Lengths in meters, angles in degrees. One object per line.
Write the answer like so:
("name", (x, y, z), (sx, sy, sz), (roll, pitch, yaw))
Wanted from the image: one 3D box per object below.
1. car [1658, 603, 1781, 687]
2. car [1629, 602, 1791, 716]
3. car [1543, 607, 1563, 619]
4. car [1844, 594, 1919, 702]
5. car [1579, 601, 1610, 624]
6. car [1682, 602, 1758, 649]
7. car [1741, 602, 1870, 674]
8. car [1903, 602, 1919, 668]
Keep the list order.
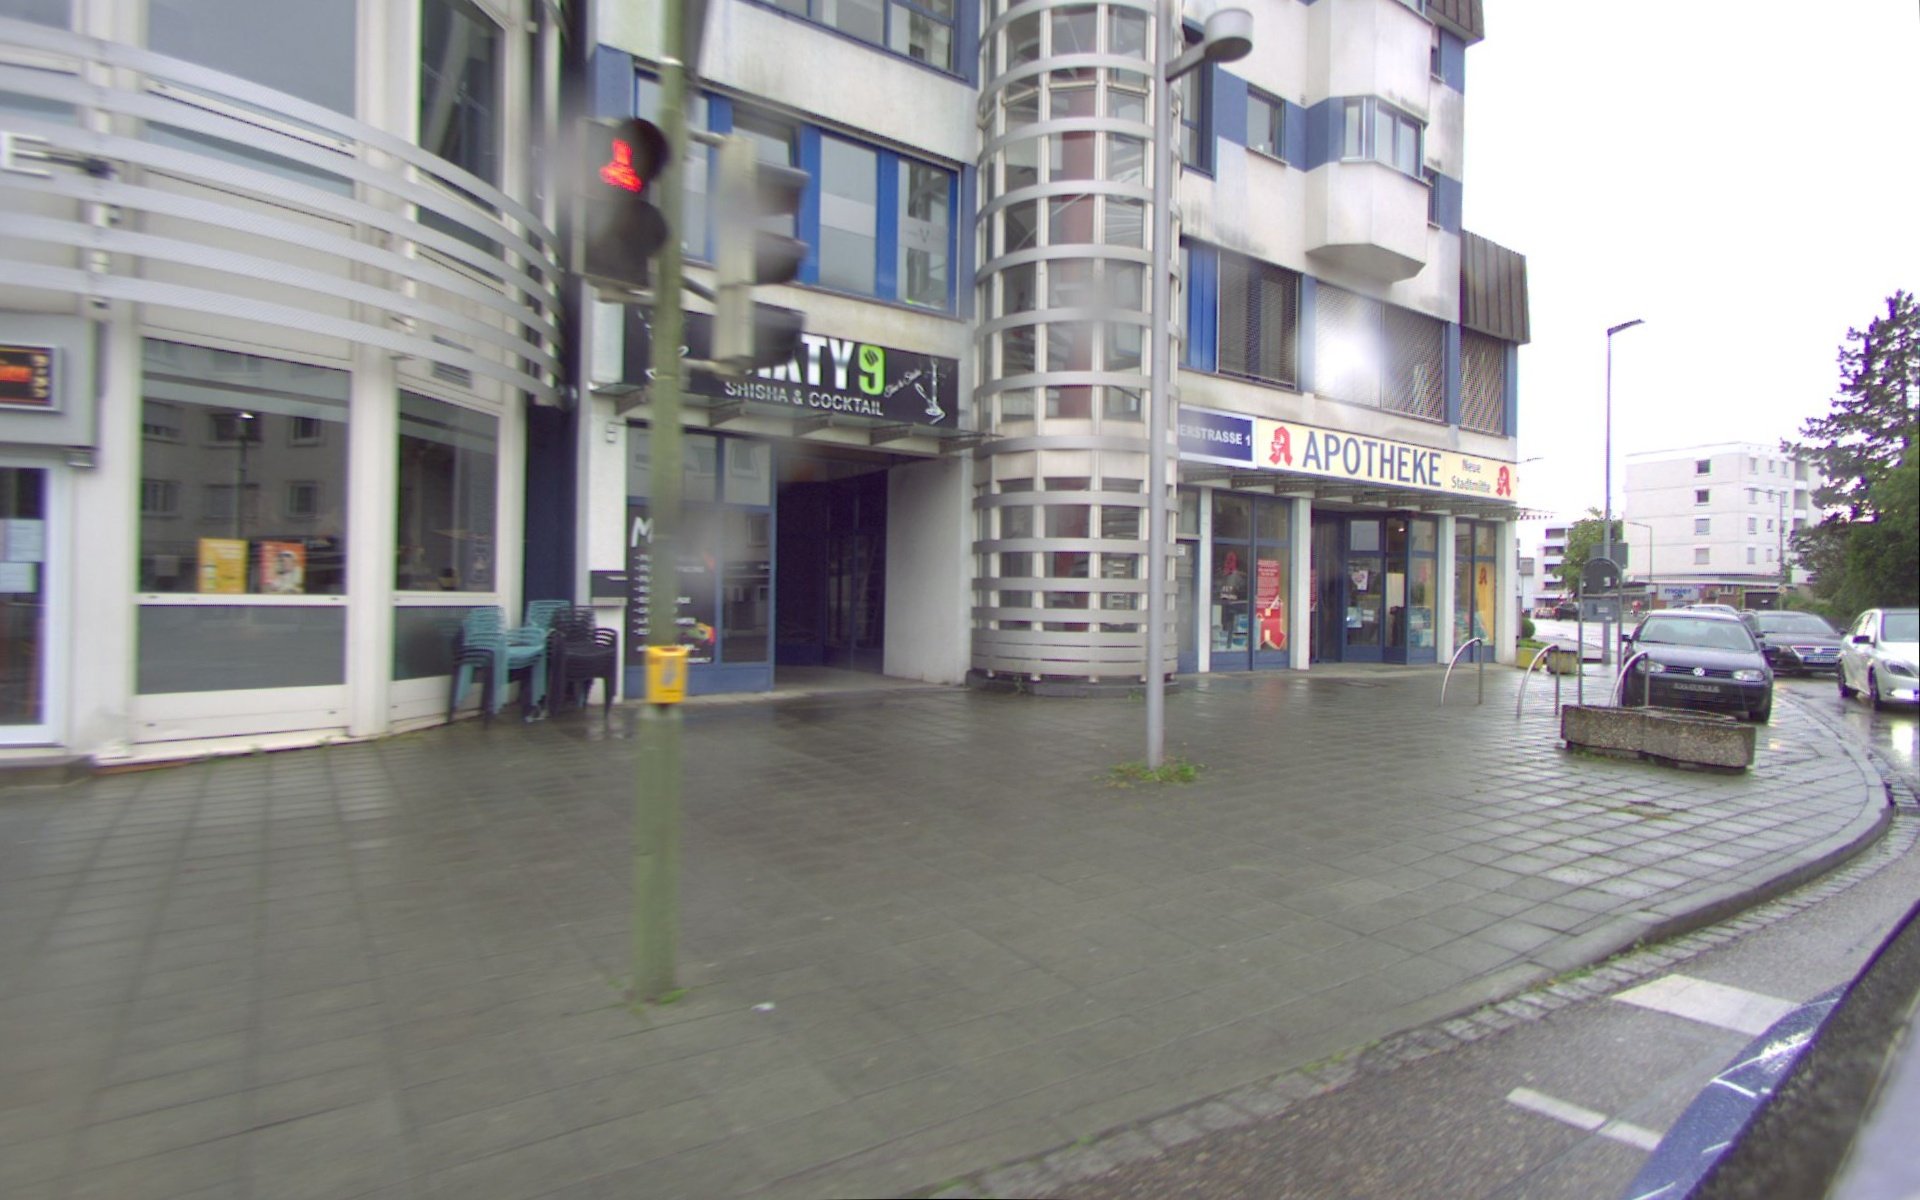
("car", (14.769, 0.791, 19.856), (1.648, 1.442, 3.952), (1, 0, 33))
("car", (11.000, 0.765, 15.061), (1.644, 1.389, 3.687), (3, 2, 33))
("car", (75.187, 1.653, 128.322), (1.853, 1.455, 3.708), (1, 1, 25))
("car", (15.381, 0.727, 15.851), (1.722, 1.547, 4.015), (1, 0, 33))
("car", (50.040, 0.968, 79.836), (1.728, 1.660, 3.962), (1, 1, 27))
("car", (28.135, 0.924, 37.573), (1.986, 1.636, 3.951), (-1, -1, 34))
("car", (19.077, 0.788, 22.993), (1.789, 1.386, 3.926), (1, 1, 33))
("car", (21.872, 0.818, 21.494), (1.735, 1.473, 3.777), (1, 1, 28))
